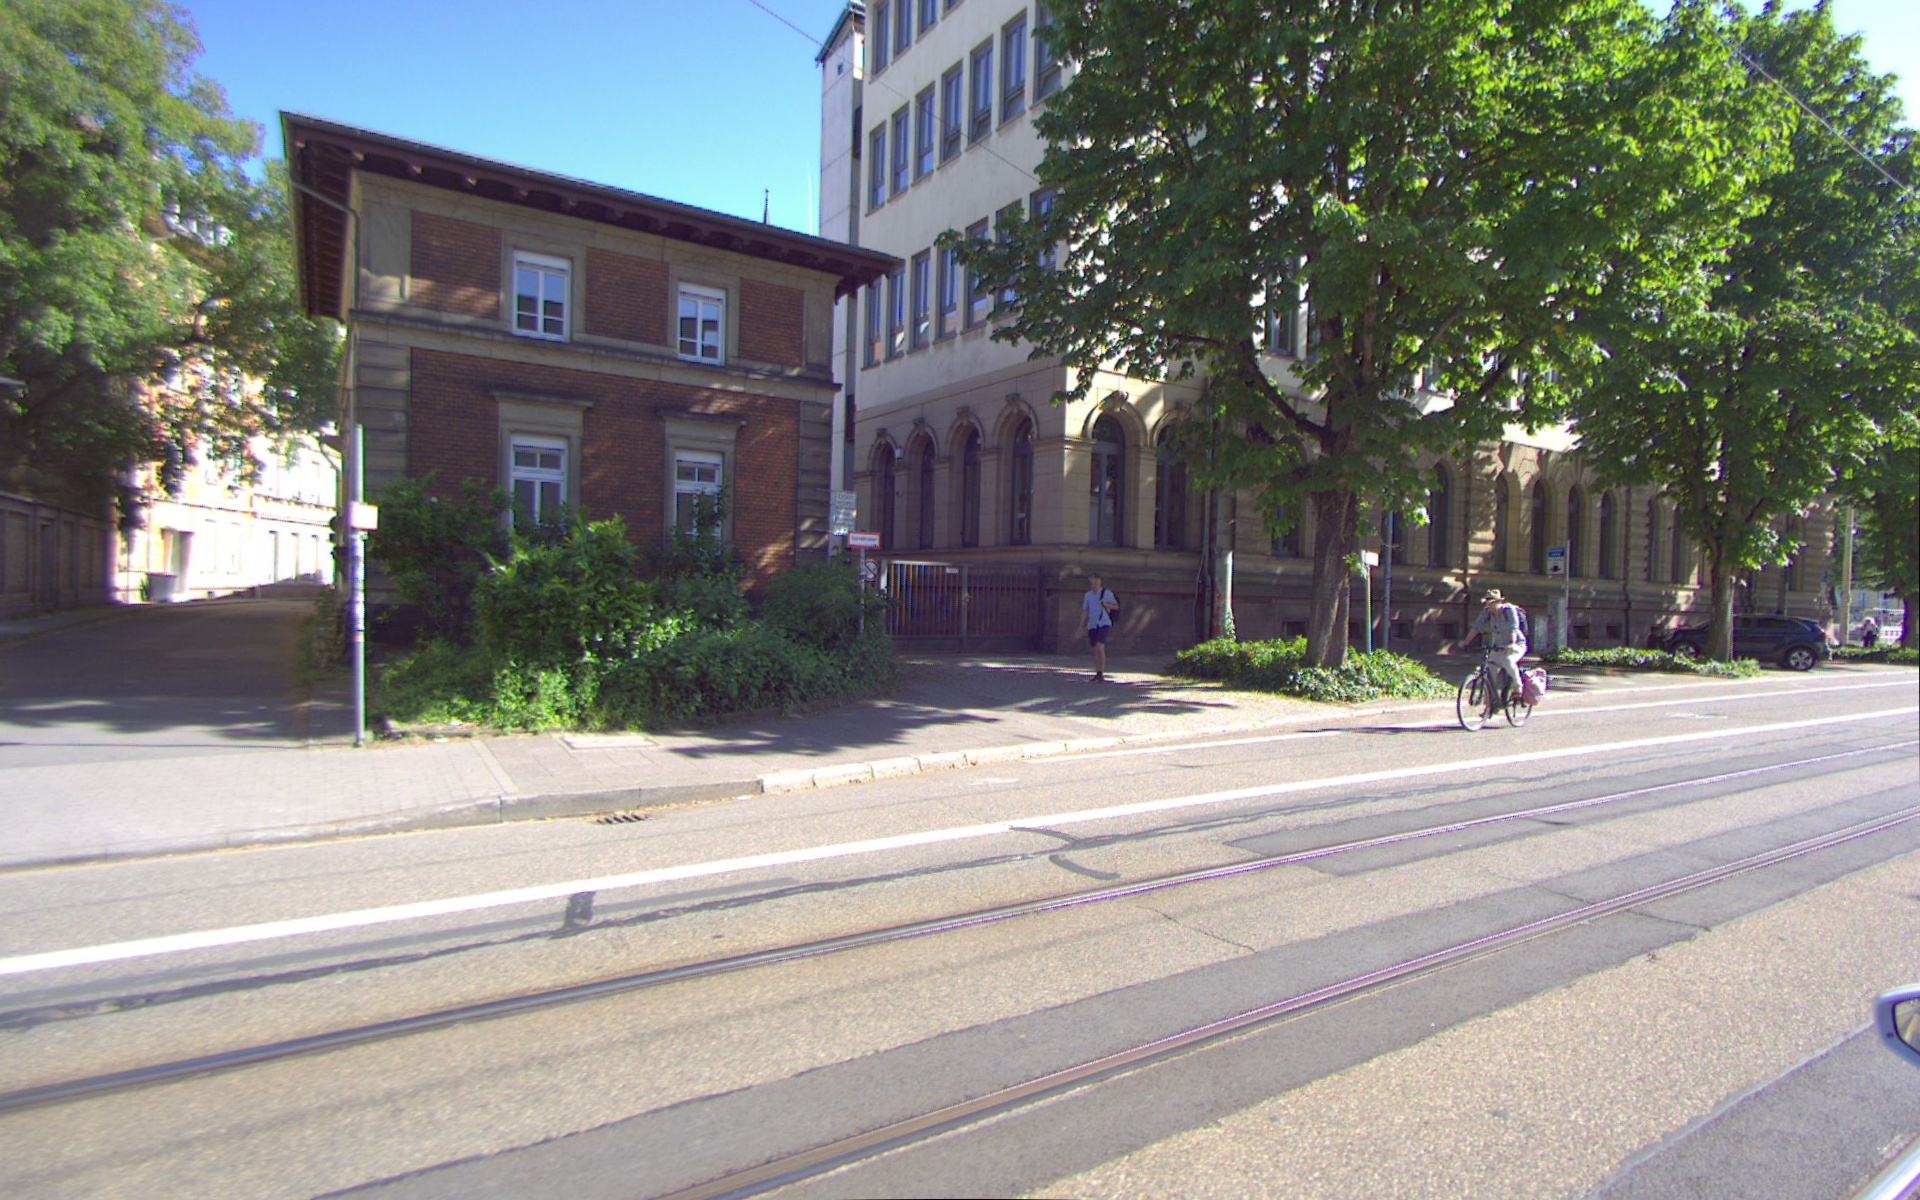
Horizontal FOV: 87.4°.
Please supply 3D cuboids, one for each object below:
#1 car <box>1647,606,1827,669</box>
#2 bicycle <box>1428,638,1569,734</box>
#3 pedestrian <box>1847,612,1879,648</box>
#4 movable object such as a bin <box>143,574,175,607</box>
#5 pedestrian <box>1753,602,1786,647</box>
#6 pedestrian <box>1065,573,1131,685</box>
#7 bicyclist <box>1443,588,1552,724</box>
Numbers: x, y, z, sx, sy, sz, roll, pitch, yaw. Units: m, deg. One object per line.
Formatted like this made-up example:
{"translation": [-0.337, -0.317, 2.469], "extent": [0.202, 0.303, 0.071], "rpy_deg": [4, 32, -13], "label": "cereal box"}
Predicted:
{"translation": [22.874, 1.051, 29.780], "extent": [3.928, 1.571, 1.874], "rpy_deg": [3, 1, 30], "label": "car"}
{"translation": [6.903, 1.068, 12.862], "extent": [1.908, 1.139, 0.684], "rpy_deg": [1, -1, -29], "label": "bicycle"}
{"translation": [39.473, 1.322, 43.904], "extent": [0.908, 1.524, 0.703], "rpy_deg": [2, 1, 35], "label": "pedestrian"}
{"translation": [-29.023, -0.356, 36.402], "extent": [0.692, 1.172, 1.127], "rpy_deg": [1, 1, -27], "label": "movable object such as a bin"}
{"translation": [30.746, 0.933, 38.145], "extent": [0.751, 1.657, 0.696], "rpy_deg": [1, 3, -33], "label": "pedestrian"}
{"translation": [2.361, 0.476, 17.147], "extent": [0.720, 1.821, 0.776], "rpy_deg": [5, 4, 39], "label": "pedestrian"}
{"translation": [6.879, 0.700, 12.855], "extent": [1.222, 1.666, 0.684], "rpy_deg": [1, -1, -29], "label": "bicyclist"}
